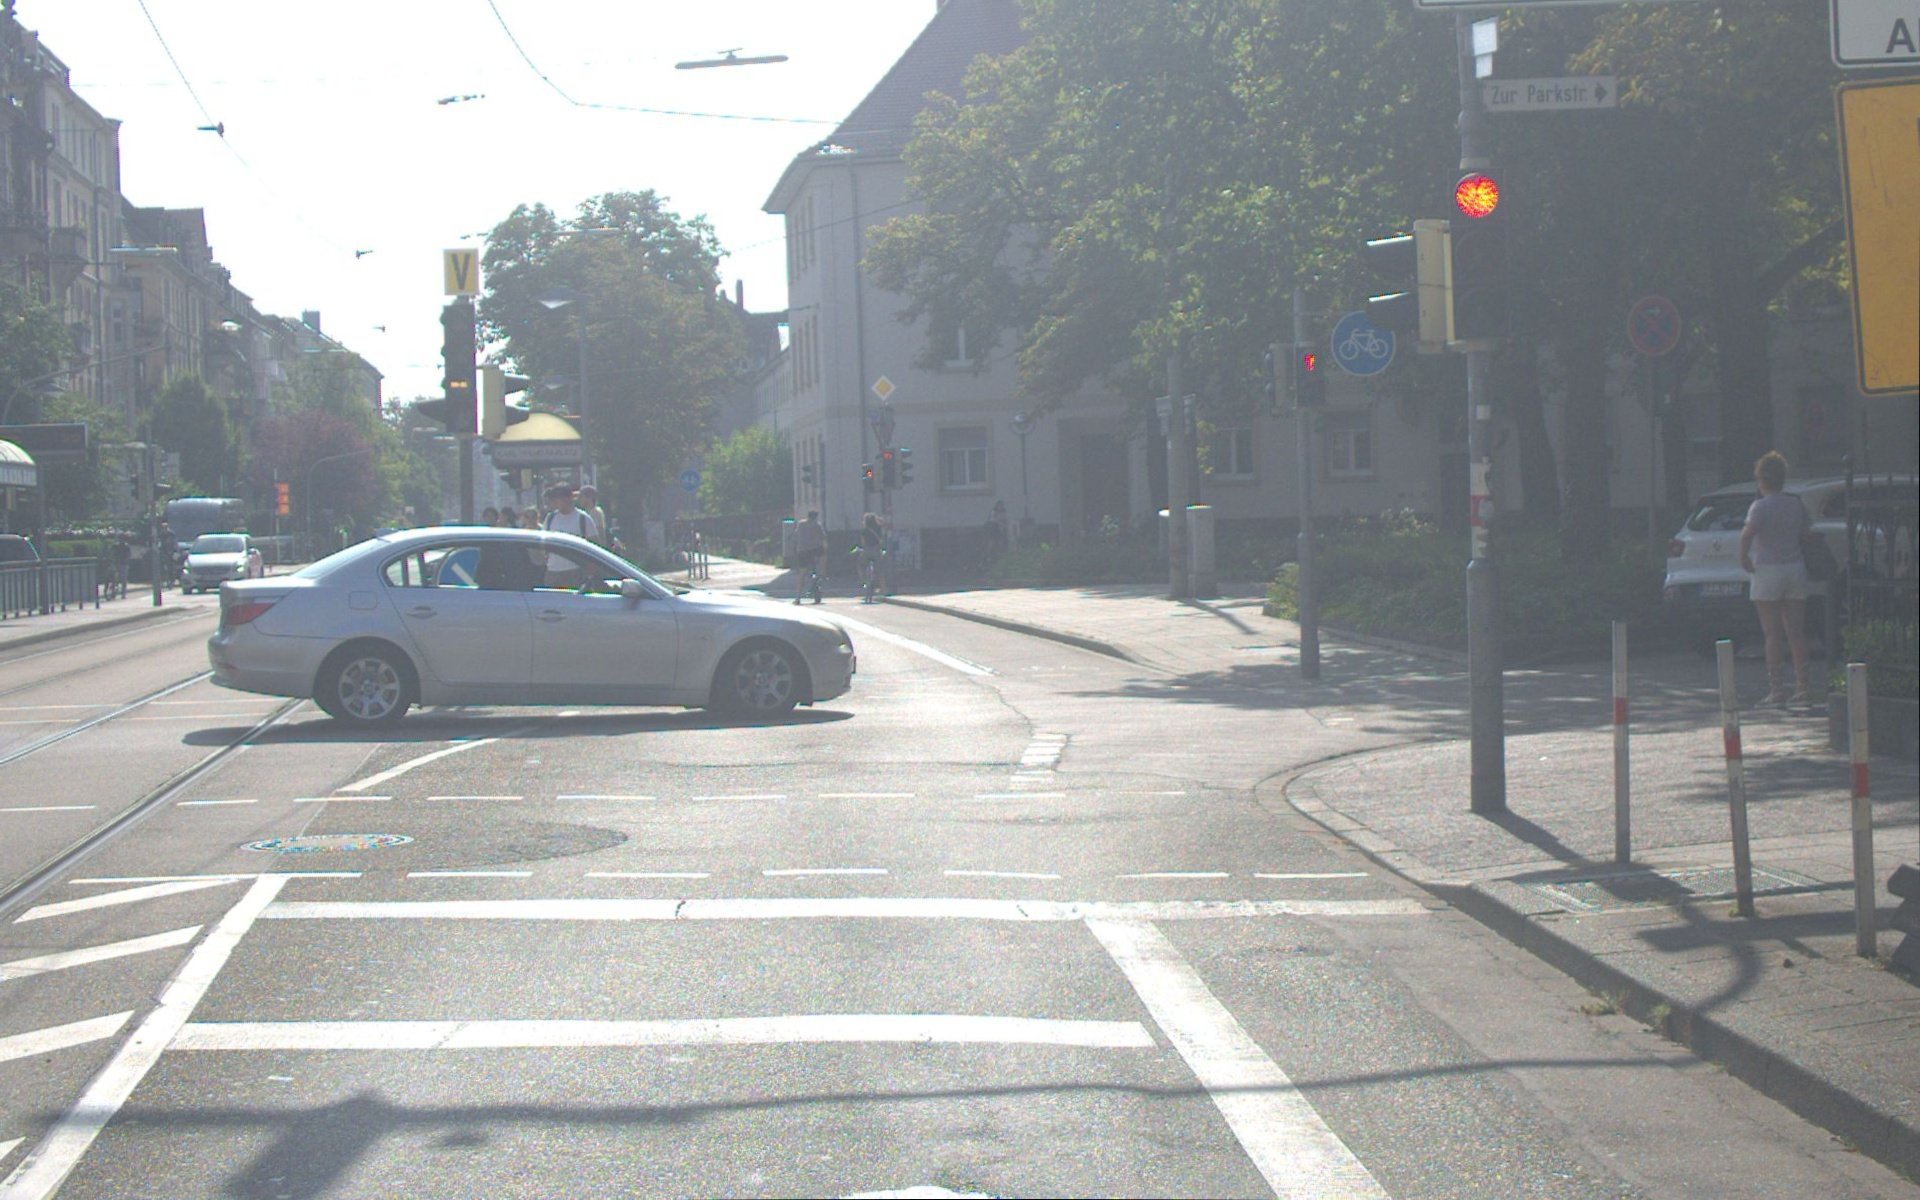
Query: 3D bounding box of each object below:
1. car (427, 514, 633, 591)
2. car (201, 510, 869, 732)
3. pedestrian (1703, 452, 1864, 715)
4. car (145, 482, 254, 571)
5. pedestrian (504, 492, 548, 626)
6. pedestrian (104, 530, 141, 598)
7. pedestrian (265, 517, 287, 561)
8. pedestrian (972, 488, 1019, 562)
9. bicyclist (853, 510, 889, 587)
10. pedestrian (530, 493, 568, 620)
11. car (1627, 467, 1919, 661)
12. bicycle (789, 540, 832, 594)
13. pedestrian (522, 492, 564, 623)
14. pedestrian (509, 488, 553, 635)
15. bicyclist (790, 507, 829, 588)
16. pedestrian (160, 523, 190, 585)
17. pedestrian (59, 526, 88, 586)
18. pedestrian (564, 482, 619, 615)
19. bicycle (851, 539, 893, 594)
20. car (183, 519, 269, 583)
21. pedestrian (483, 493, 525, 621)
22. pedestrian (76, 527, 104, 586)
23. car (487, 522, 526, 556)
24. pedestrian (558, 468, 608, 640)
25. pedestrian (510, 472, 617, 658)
[{"bbox_3d":[-9.485,-1.064,76.104,4.321,1.563,2.000,-2,1,-3],"label":"car"},{"bbox_3d":[-3.207,0.113,25.842,4.769,1.461,1.871,-2,2,-10],"label":"car"},{"bbox_3d":[5.559,-0.118,23.230,0.749,1.725,0.772,-2,1,-15],"label":"pedestrian"},{"bbox_3d":[-23.732,-2.310,107.467,2.347,2.652,5.106,-2,2,-2],"label":"car"},{"bbox_3d":[-5.781,-0.553,45.814,0.543,1.753,0.534,1,4,-6],"label":"pedestrian"},{"bbox_3d":[-21.661,-0.942,88.904,0.750,1.725,0.772,-2,1,-4],"label":"pedestrian"},{"bbox_3d":[-27.244,-2.429,136.997,0.749,1.725,0.772,-2,1,-15],"label":"pedestrian"},{"bbox_3d":[0.846,-1.801,82.409,0.892,1.734,0.775,-1,1,17],"label":"pedestrian"},{"bbox_3d":[-1.665,-0.964,64.235,0.558,1.412,0.872,-2,2,-7],"label":"bicyclist"},{"bbox_3d":[-5.813,-0.621,48.630,0.504,1.753,0.534,1,4,-6],"label":"pedestrian"},{"bbox_3d":[8.242,-0.388,31.493,4.320,1.625,1.999,-3,2,-43],"label":"car"},{"bbox_3d":[-2.823,-0.626,64.678,0.628,0.974,1.771,-2,2,-7],"label":"bicycle"},{"bbox_3d":[-5.655,-0.580,46.637,0.543,1.753,0.534,1,4,-6],"label":"pedestrian"},{"bbox_3d":[-5.223,-0.472,41.840,0.504,1.753,0.534,1,4,-6],"label":"pedestrian"},{"bbox_3d":[-2.827,-0.987,64.667,0.628,1.502,0.679,-2,2,-7],"label":"bicyclist"},{"bbox_3d":[-22.512,-1.322,98.595,0.749,1.725,0.772,-2,1,-15],"label":"pedestrian"},{"bbox_3d":[-25.775,-1.284,99.937,0.749,1.725,0.772,-2,1,-15],"label":"pedestrian"},{"bbox_3d":[-4.942,-0.695,46.078,0.708,1.753,0.534,1,4,-6],"label":"pedestrian"},{"bbox_3d":[-1.647,-0.629,64.230,0.558,0.974,1.857,-2,2,-7],"label":"bicycle"},{"bbox_3d":[-19.746,-1.335,92.596,1.801,1.648,3.643,-2,2,-5],"label":"car"},{"bbox_3d":[-6.362,-0.606,47.996,0.532,1.753,0.545,1,4,-5],"label":"pedestrian"},{"bbox_3d":[-26.104,-1.309,103.191,0.749,1.725,0.772,-2,1,-15],"label":"pedestrian"},{"bbox_3d":[-23.333,-3.136,176.947,1.801,1.648,3.643,-2,2,-5],"label":"car"},{"bbox_3d":[-4.081,-0.499,37.219,0.504,1.827,0.534,1,4,-6],"label":"pedestrian"},{"bbox_3d":[-3.799,-0.349,32.963,0.701,1.719,0.747,3,4,27],"label":"pedestrian"}]
